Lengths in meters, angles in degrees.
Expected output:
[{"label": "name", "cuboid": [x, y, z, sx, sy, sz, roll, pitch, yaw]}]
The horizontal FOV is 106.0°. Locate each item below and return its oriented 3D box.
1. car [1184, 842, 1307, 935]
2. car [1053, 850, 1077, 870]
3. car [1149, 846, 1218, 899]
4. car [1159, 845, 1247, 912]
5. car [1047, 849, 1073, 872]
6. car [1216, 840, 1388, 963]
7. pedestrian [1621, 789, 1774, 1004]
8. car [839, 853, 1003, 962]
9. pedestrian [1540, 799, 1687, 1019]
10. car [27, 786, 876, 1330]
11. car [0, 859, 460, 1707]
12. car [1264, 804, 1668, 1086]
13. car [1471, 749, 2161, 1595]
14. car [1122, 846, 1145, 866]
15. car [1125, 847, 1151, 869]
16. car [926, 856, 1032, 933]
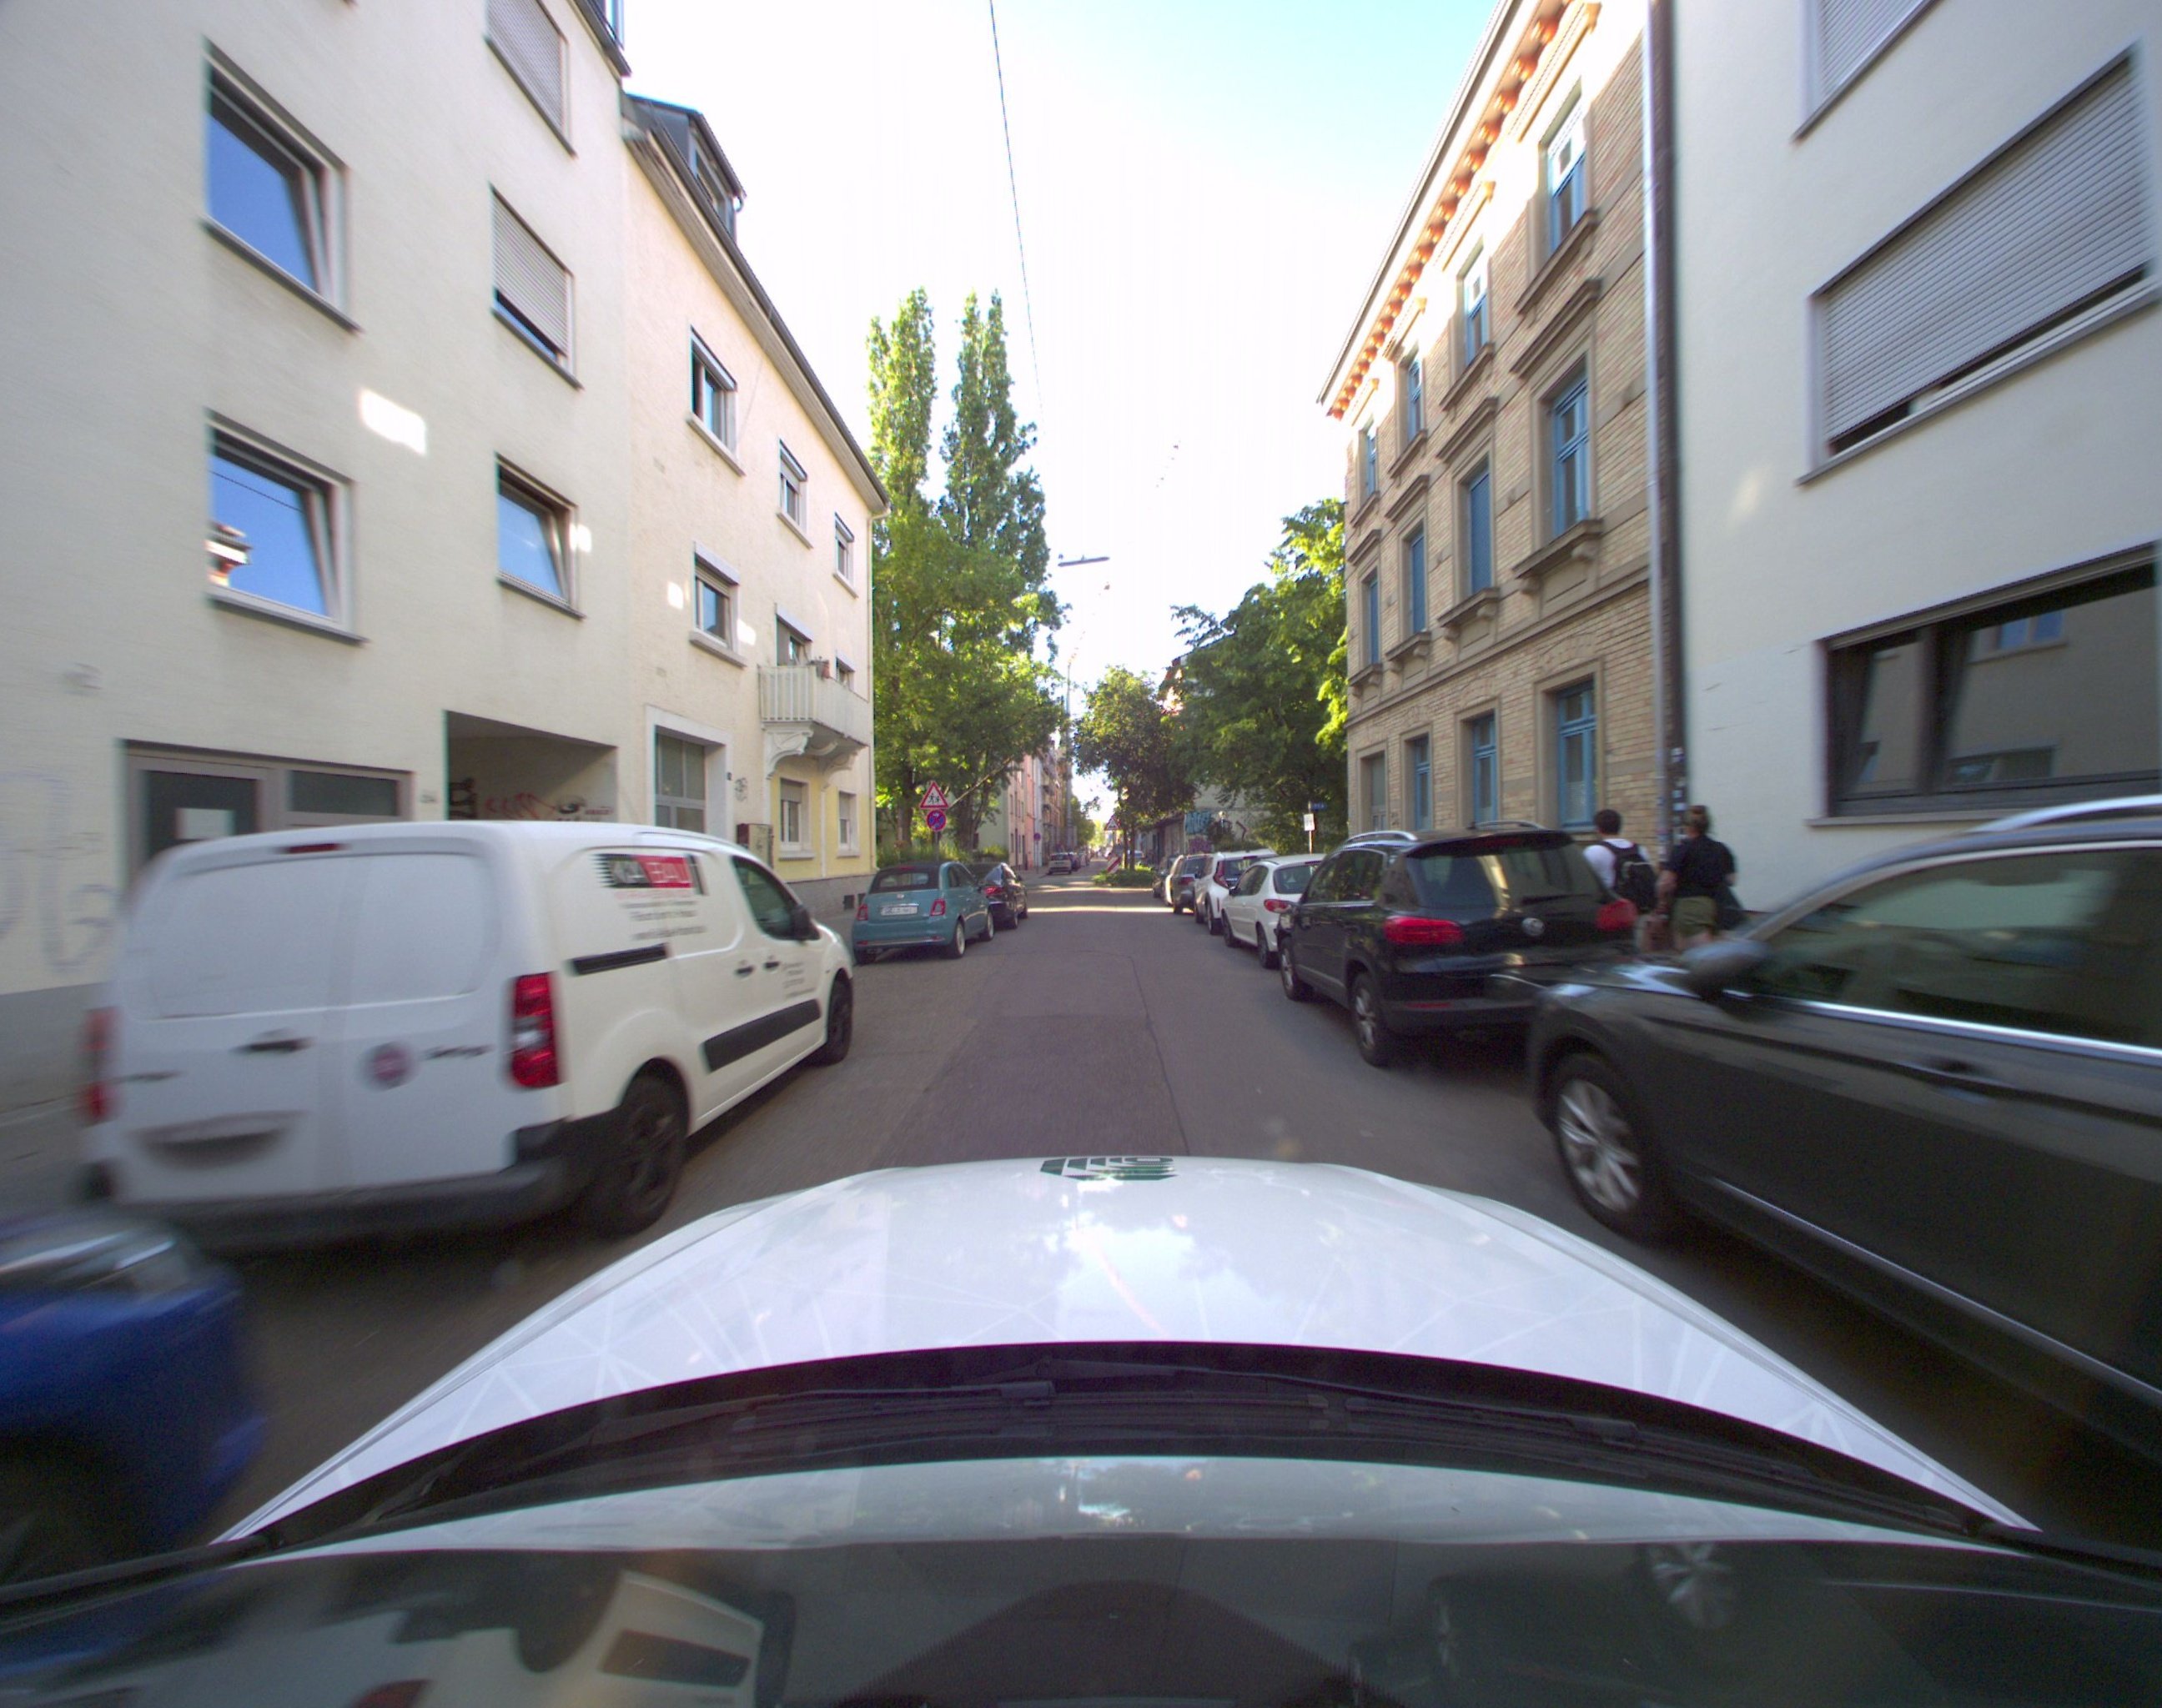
[{"label": "car", "cuboid": [3.161, 0.596, 16.361, 1.670, 1.561, 3.796, -3, 0, 1]}, {"label": "car", "cuboid": [-1.259, 0.452, 64.293, 1.670, 1.487, 4.095, -3, 0, 1]}, {"label": "car", "cuboid": [3.221, 0.522, 26.270, 1.670, 1.487, 4.095, -3, 0, 1]}, {"label": "car", "cuboid": [3.074, 0.558, 21.268, 1.670, 1.487, 4.095, -3, 0, 1]}, {"label": "car", "cuboid": [-1.468, 0.461, 59.060, 1.670, 1.487, 4.095, -3, 0, 1]}, {"label": "car", "cuboid": [3.104, 0.584, 12.149, 1.561, 1.483, 3.619, -3, 0, 1]}, {"label": "pedestrian", "cuboid": [5.072, 0.331, 6.741, 0.683, 1.660, 0.717, -2, 0, 1]}, {"label": "car", "cuboid": [-2.503, 0.777, 13.713, 1.662, 1.469, 3.825, -3, 0, 4]}, {"label": "pedestrian", "cuboid": [4.284, 0.420, 6.602, 0.683, 1.660, 0.717, -2, 0, 1]}, {"label": "car", "cuboid": [-2.678, 0.687, 4.828, 1.759, 1.785, 4.039, -3, 0, 1]}, {"label": "car", "cuboid": [-2.741, 0.825, 0.256, 1.665, 1.486, 3.999, -3, 0, 6]}, {"label": "car", "cuboid": [2.862, 0.583, 7.138, 1.669, 1.681, 4.097, -3, -1, 2]}, {"label": "car", "cuboid": [2.853, 0.545, 2.008, 1.670, 1.627, 4.251, -5, 0, 1]}, {"label": "car", "cuboid": [4.266, 0.142, 66.687, 1.670, 1.487, 3.638, -3, 0, 1]}, {"label": "car", "cuboid": [4.196, 0.242, 60.173, 1.670, 1.487, 3.638, -3, 0, 1]}, {"label": "car", "cuboid": [-2.100, 0.785, 17.809, 1.664, 1.361, 4.050, -3, 0, 1]}]
